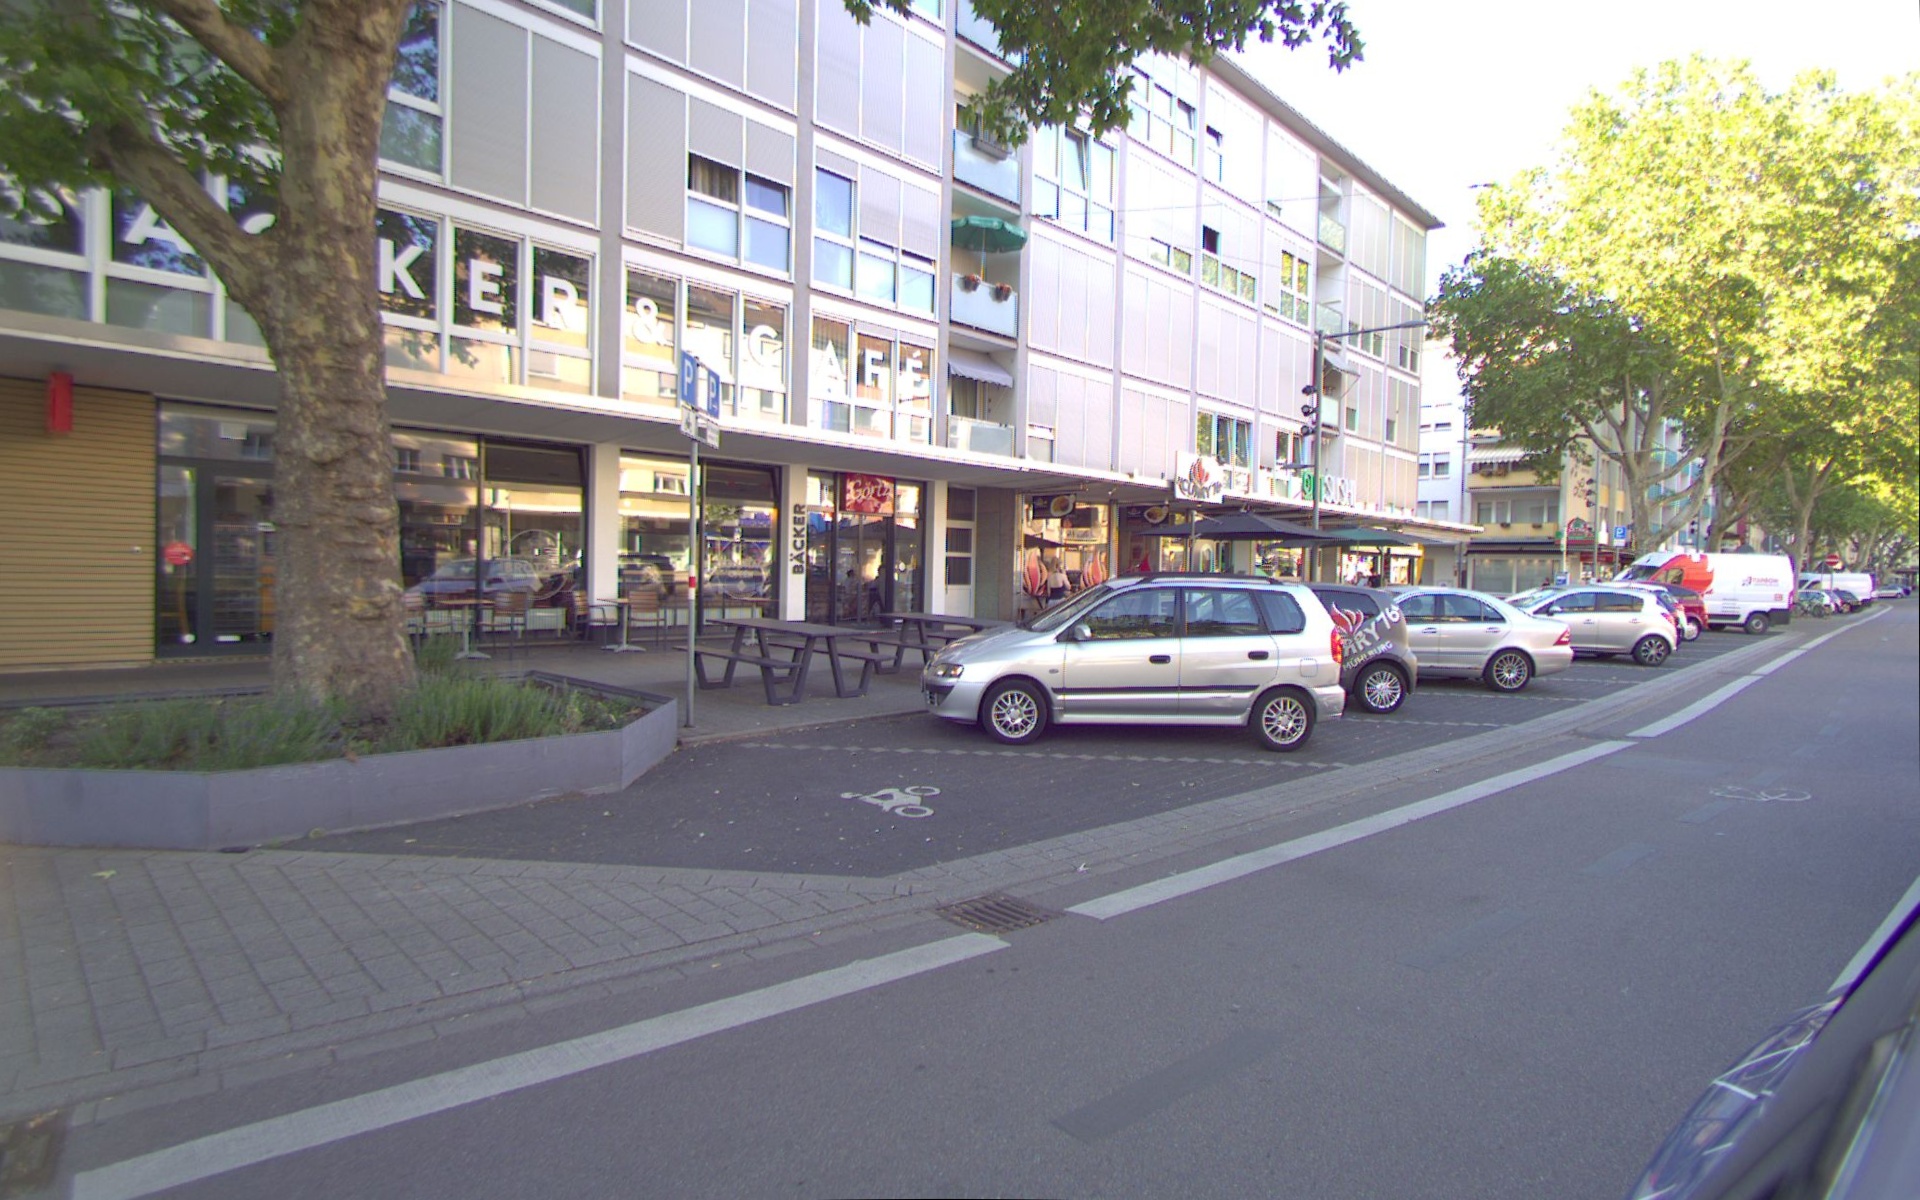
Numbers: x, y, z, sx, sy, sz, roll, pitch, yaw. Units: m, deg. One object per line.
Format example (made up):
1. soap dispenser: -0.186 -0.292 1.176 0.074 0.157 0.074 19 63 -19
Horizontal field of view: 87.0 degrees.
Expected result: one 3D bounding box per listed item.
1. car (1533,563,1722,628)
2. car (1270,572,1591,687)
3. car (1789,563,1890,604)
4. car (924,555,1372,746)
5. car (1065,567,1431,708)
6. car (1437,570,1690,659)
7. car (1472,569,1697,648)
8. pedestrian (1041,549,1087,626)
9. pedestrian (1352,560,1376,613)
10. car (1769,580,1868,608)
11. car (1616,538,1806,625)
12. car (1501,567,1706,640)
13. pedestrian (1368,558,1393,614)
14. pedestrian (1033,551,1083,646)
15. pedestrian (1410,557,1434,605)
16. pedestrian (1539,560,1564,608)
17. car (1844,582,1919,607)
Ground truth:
1. car: 18.092 -0.163 27.620 3.890 1.445 1.668 4 5 18
2. car: 6.763 0.383 14.827 3.867 1.418 1.598 2 3 1
3. car: 56.553 -1.078 65.143 4.512 2.499 1.977 1 2 3
4. car: 1.643 0.421 9.792 3.906 1.560 1.679 2 3 -3
5. car: 3.363 0.404 12.305 3.864 1.446 1.679 2 3 -3
6. car: 11.697 0.246 19.818 3.871 1.446 1.559 3 3 4
7. car: 13.895 0.145 22.775 3.886 1.446 1.670 3 3 16
8. pedestrian: 2.202 -0.269 21.433 0.757 1.602 0.583 0 2 -39
9. pedestrian: 12.970 -0.443 32.522 0.536 1.660 0.470 2 2 45
10. car: 47.999 -0.355 56.608 3.864 1.422 1.782 1 2 3
11. car: 23.697 -0.590 32.062 4.514 2.525 1.675 2 1 5
12. car: 15.888 0.042 25.220 3.888 1.445 1.669 4 5 17
13. pedestrian: 13.321 -0.450 32.068 0.544 1.741 0.450 2 2 45
14. pedestrian: 1.694 -0.044 17.443 0.559 1.596 0.632 2 2 44
15. pedestrian: 19.726 -0.824 43.185 0.746 2.038 0.550 2 2 45
16. pedestrian: 25.238 -0.686 43.190 0.746 2.000 0.566 2 2 45
17. car: 56.281 -0.334 61.258 3.864 1.350 1.782 1 2 3
